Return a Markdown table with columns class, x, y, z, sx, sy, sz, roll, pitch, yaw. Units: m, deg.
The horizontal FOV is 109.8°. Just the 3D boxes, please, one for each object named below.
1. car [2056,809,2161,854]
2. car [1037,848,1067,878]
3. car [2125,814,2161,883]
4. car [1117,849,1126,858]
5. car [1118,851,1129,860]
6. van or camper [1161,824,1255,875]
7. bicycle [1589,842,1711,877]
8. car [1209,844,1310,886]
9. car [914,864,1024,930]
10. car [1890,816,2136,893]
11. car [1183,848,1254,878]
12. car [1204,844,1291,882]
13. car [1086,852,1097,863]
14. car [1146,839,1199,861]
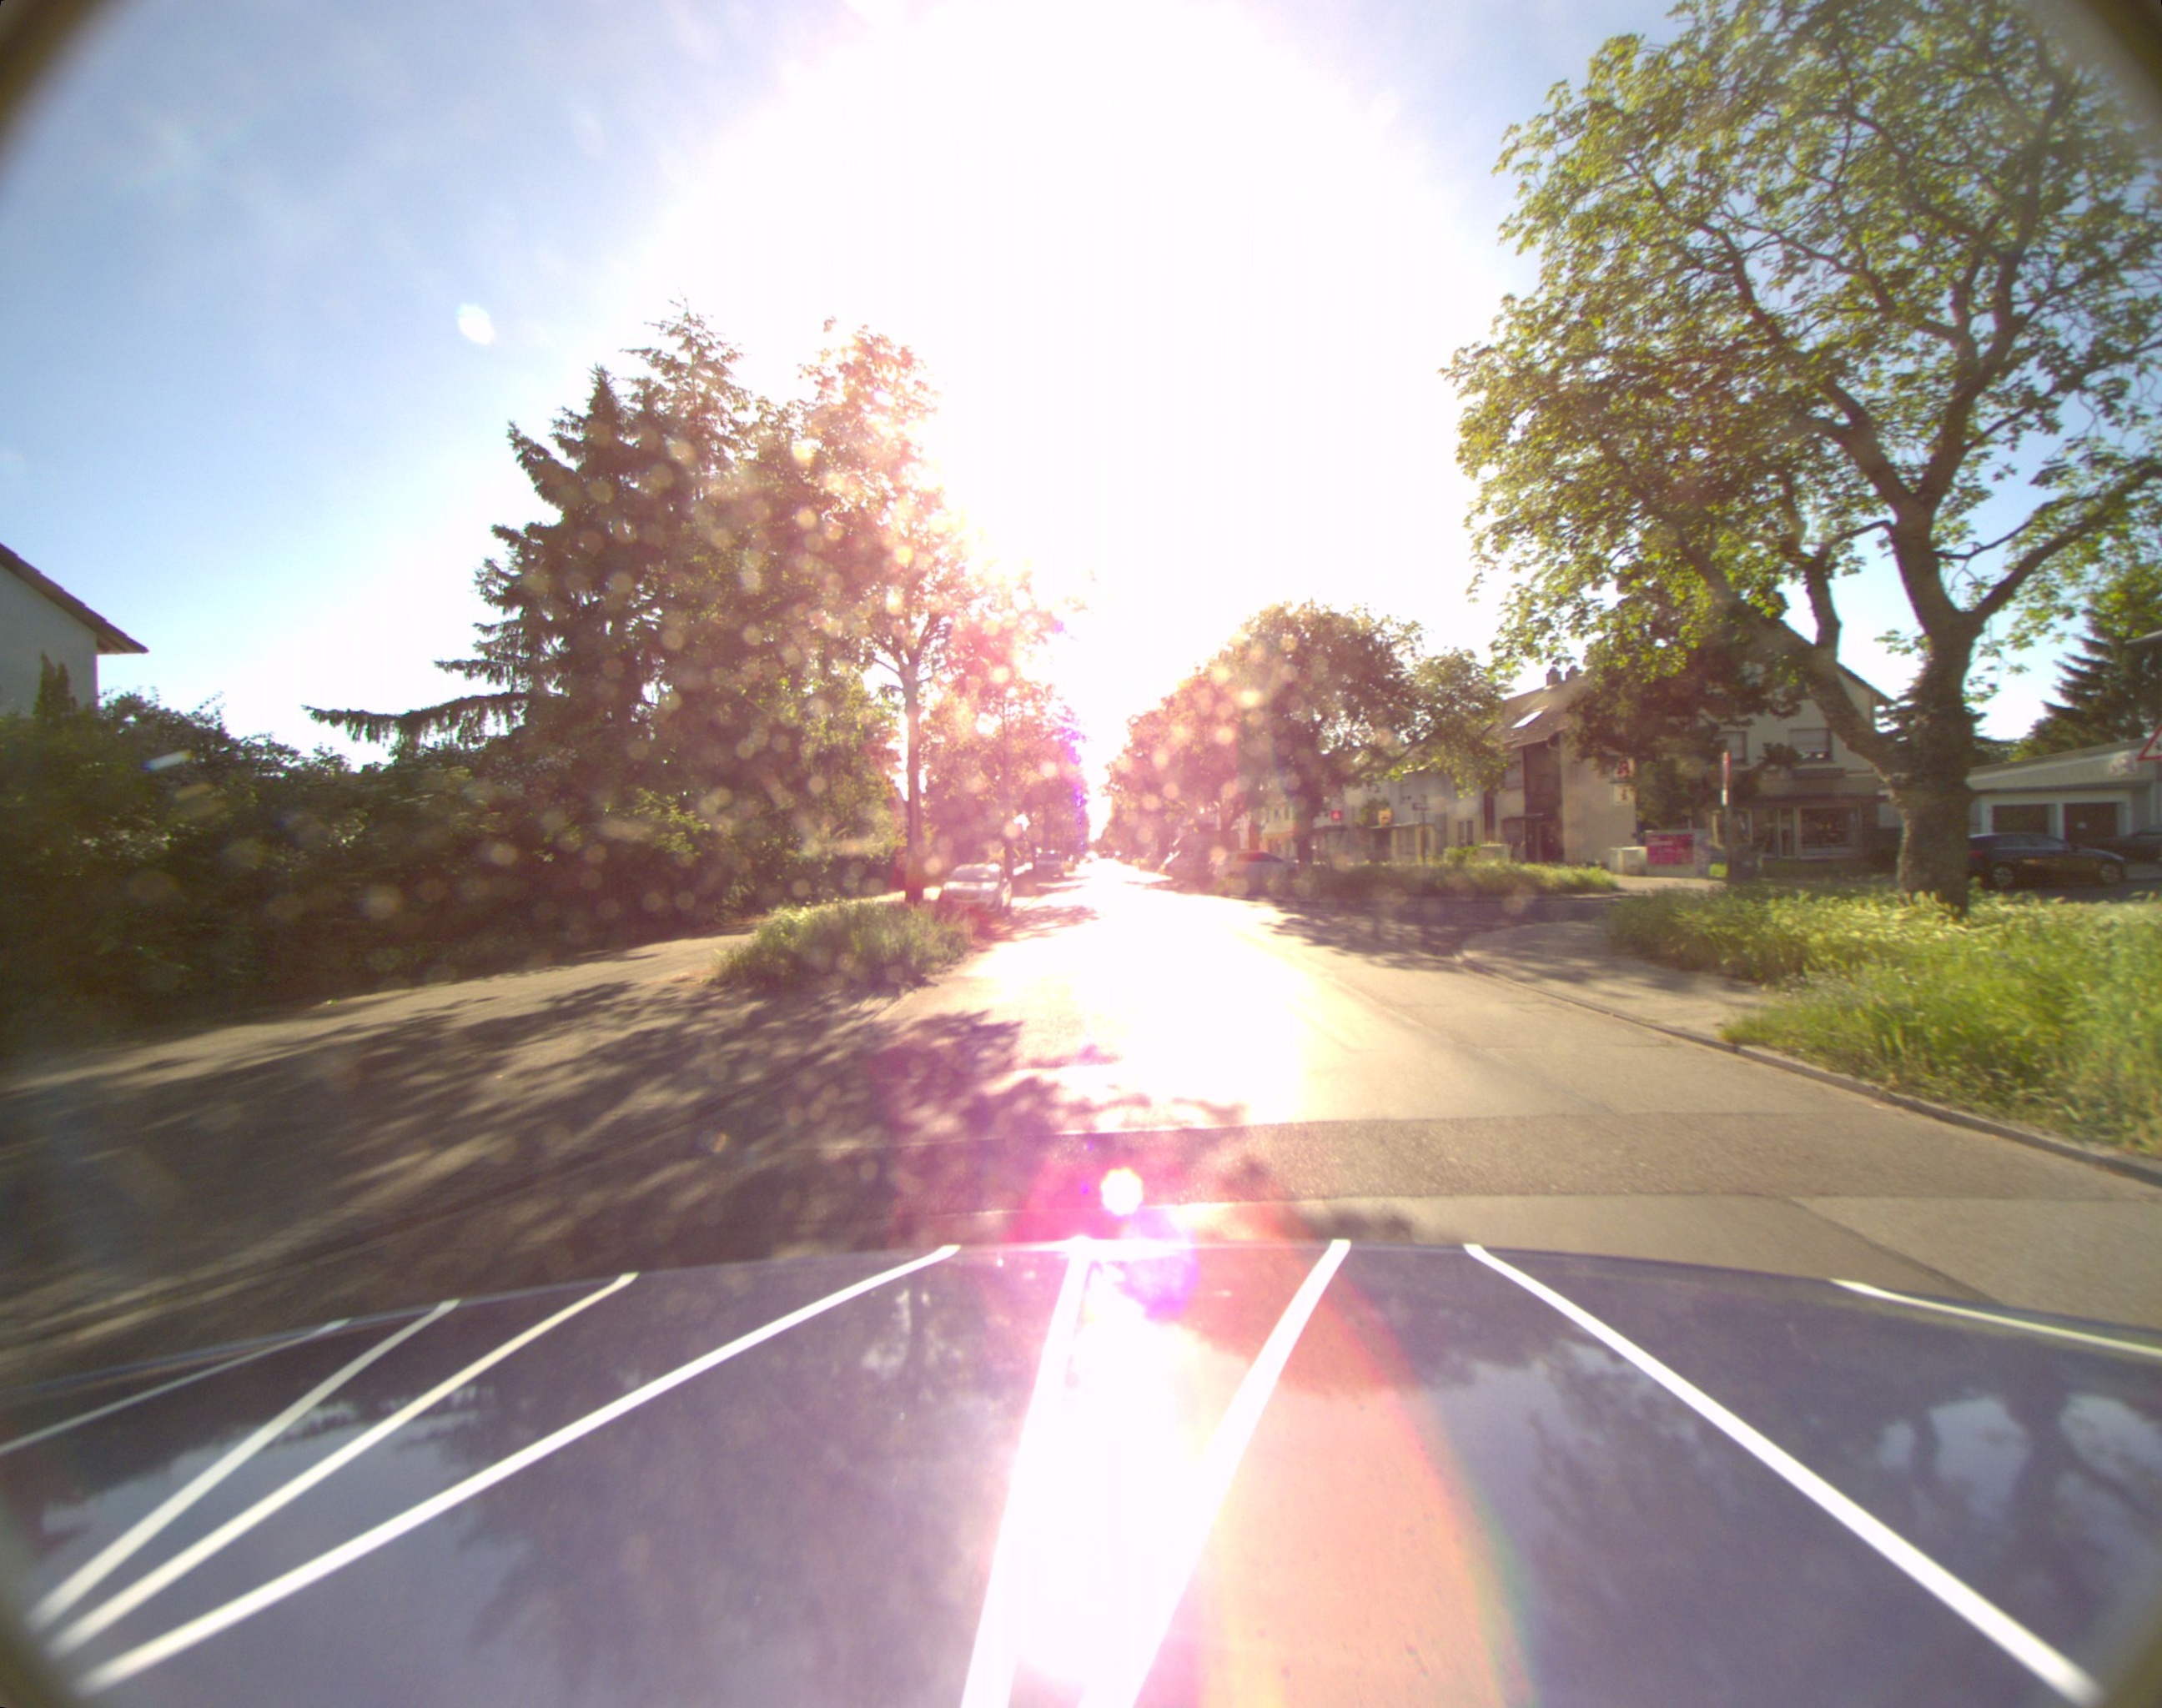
| class | x | y | z | sx | sy | sz | roll | pitch | yaw |
| --- | --- | --- | --- | --- | --- | --- | --- | --- | --- |
| car | 37.419 | -0.809 | 26.550 | 1.803 | 1.510 | 3.758 | -2 | 0 | -2 |
| car | -2.228 | 0.655 | 59.051 | 1.999 | 2.002 | 5.195 | -5 | 1 | 0 |
| car | 30.599 | -0.224 | 19.782 | 3.997 | 1.810 | 2.000 | -2 | 1 | 1 |
| car | 8.465 | -0.132 | 159.565 | 1.815 | 1.722 | 4.056 | -2 | 0 | 3 |
| car | 8.372 | 0.261 | 148.167 | 1.998 | 1.530 | 3.695 | -5 | 1 | 3 |
| van or camper | 8.363 | -0.300 | 50.596 | 5.789 | 2.789 | 2.000 | -5 | 1 | 3 |
| bicycle | 21.161 | 0.211 | 28.443 | 0.706 | 1.169 | 4.051 | -2 | 0 | -15 |
| car | 7.889 | 0.478 | 33.883 | 3.997 | 1.651 | 1.966 | -3 | 0 | 0 |
| car | -3.013 | 1.120 | 21.366 | 1.997 | 1.502 | 4.001 | -1 | 2 | 8 |
| car | 23.659 | 0.008 | 19.413 | 3.997 | 1.704 | 1.822 | -2 | 1 | 1 |
| car | 8.586 | 0.559 | 47.736 | 3.997 | 1.450 | 1.999 | -5 | 1 | -1 |
| car | 8.692 | 0.455 | 39.892 | 3.997 | 1.580 | 2.000 | -5 | 1 | 0 |
| car | 1.760 | 0.522 | 125.886 | 1.539 | 1.582 | 3.458 | -5 | 1 | 3 |
| car | 9.336 | -0.439 | 77.695 | 5.075 | 1.718 | 1.999 | -5 | 1 | -3 |
